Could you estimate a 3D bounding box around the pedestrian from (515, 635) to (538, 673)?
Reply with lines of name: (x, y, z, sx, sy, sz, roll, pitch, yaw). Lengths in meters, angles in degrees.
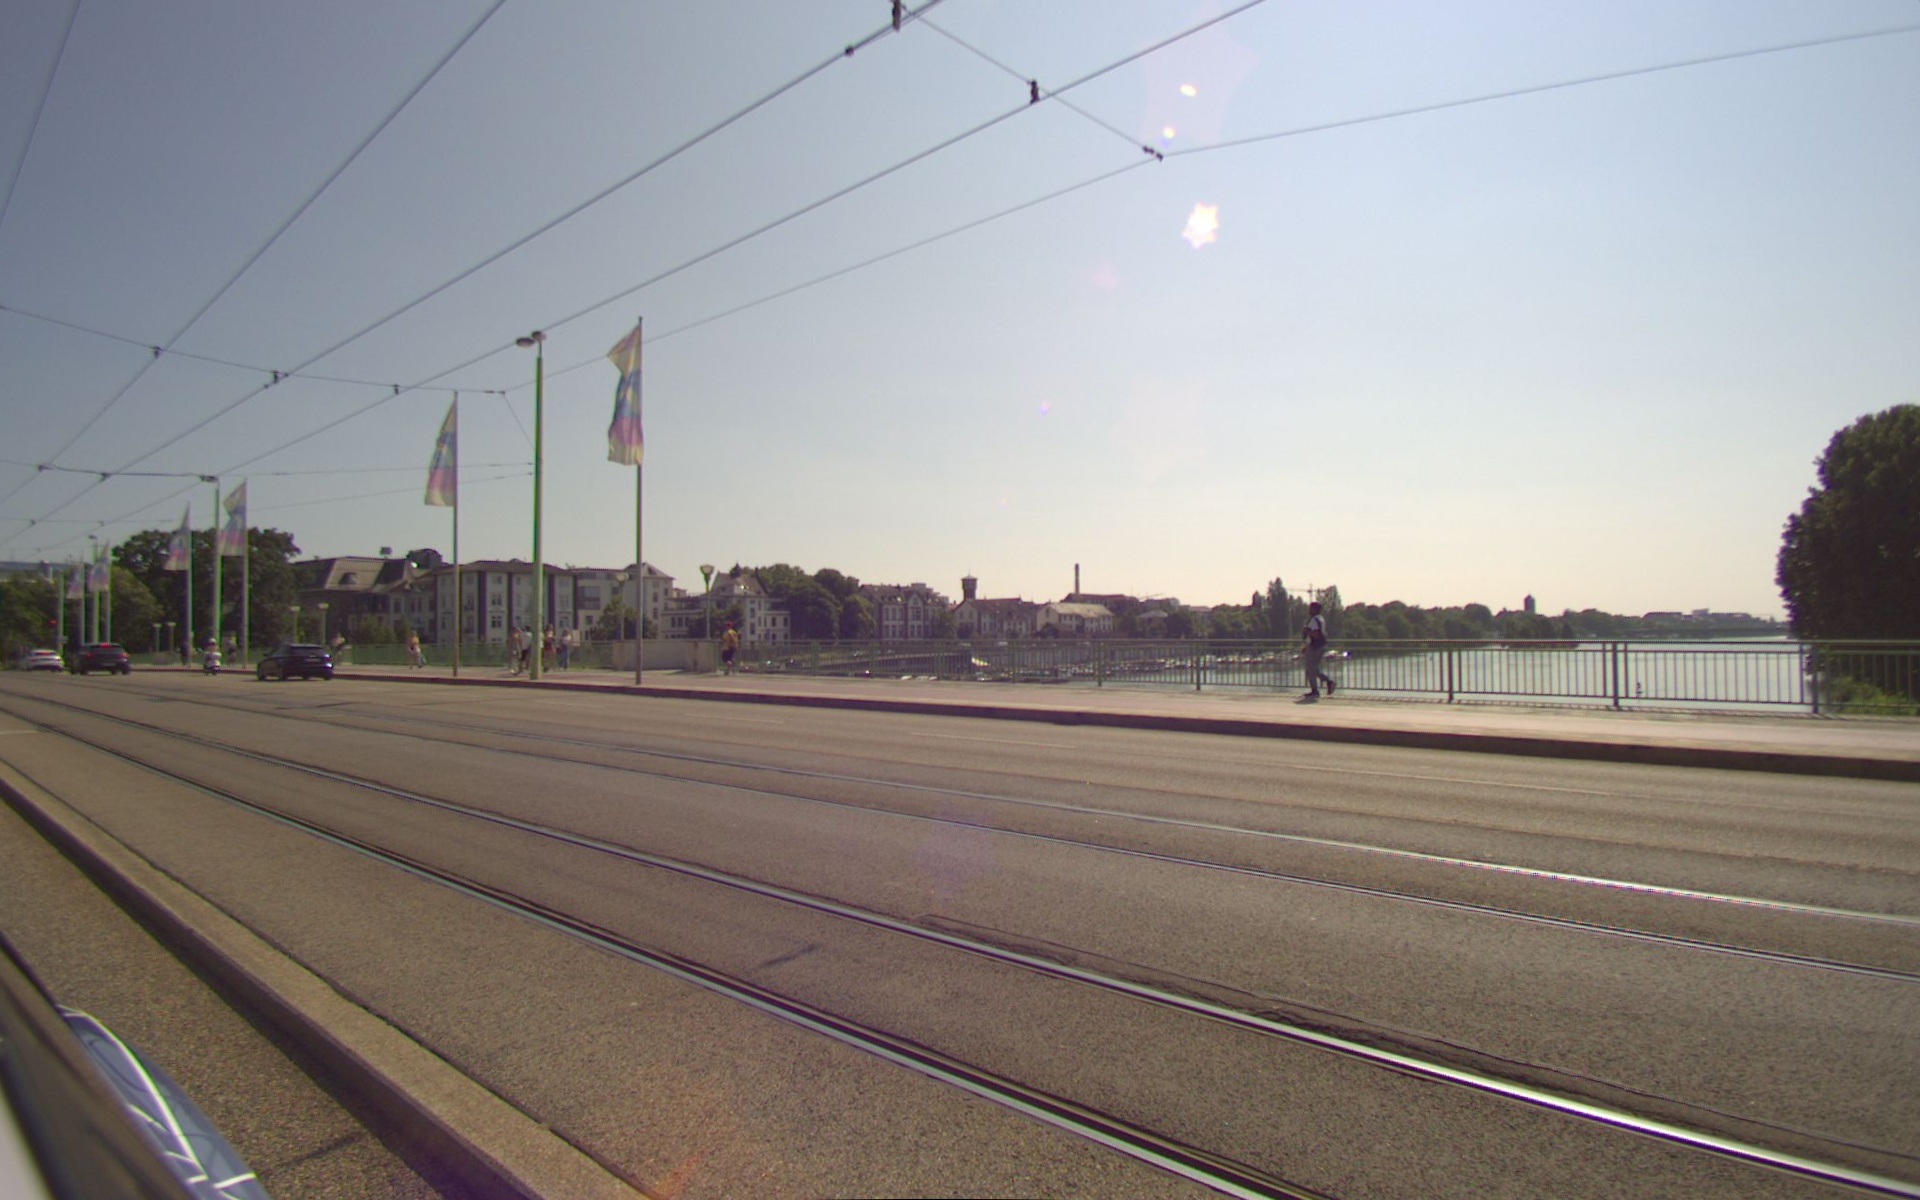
pedestrian: (-17.394, 2.161, 40.628, 0.788, 1.448, 0.540, -2, -1, 41)

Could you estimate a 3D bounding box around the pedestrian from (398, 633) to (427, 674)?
pedestrian: (-24.227, 2.355, 44.744, 1.022, 1.712, 0.777, -2, 0, 41)

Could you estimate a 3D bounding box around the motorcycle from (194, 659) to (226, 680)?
motorcycle: (-35.911, 3.298, 48.442, 2.144, 0.895, 0.725, -2, 2, 41)

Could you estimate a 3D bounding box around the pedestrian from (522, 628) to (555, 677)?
pedestrian: (-15.293, 1.897, 36.715, 1.022, 1.712, 0.663, -2, -1, 41)

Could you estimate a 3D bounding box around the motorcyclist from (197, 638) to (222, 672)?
motorcyclist: (-35.863, 2.625, 48.367, 0.728, 1.524, 0.730, -2, 2, 41)

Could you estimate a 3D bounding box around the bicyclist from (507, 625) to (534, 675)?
bicyclist: (-14.895, 1.699, 34.300, 0.621, 1.663, 0.657, -2, -2, 42)

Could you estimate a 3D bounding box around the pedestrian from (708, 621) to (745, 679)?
pedestrian: (-7.170, 1.526, 31.106, 1.022, 1.712, 0.584, -2, -1, 41)

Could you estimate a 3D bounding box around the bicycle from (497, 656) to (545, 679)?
bicycle: (-14.897, 2.288, 34.297, 2.172, 0.721, 0.658, -2, -2, 42)

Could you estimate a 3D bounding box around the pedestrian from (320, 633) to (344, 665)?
pedestrian: (-33.733, 2.627, 54.375, 1.022, 1.712, 0.777, -2, 0, 41)

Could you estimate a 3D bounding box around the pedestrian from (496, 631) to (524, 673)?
pedestrian: (-17.743, 2.055, 39.902, 1.022, 1.611, 0.619, -2, -1, 41)

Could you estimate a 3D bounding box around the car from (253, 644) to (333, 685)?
car: (-26.045, 2.474, 39.502, 3.999, 1.447, 1.650, -1, -2, 42)

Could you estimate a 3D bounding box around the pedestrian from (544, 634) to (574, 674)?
pedestrian: (-14.765, 1.989, 37.276, 1.022, 1.425, 0.584, -2, -1, 41)

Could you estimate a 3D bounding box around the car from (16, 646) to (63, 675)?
car: (-59.101, 3.856, 64.941, 3.999, 1.632, 1.790, -2, 2, 42)

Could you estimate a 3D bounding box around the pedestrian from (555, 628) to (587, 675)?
pedestrian: (-14.588, 1.934, 37.947, 1.022, 1.703, 0.677, -2, -1, 41)

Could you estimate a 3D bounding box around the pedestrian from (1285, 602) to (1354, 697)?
pedestrian: (6.672, 0.905, 18.784, 1.022, 1.712, 0.584, -2, -1, 41)

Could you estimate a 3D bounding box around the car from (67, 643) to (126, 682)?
car: (-43.270, 3.076, 50.674, 3.999, 1.709, 1.692, -2, 2, 42)

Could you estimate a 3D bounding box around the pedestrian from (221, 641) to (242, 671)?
pedestrian: (-44.453, 3.407, 61.731, 1.022, 1.712, 0.777, -2, 0, 41)
